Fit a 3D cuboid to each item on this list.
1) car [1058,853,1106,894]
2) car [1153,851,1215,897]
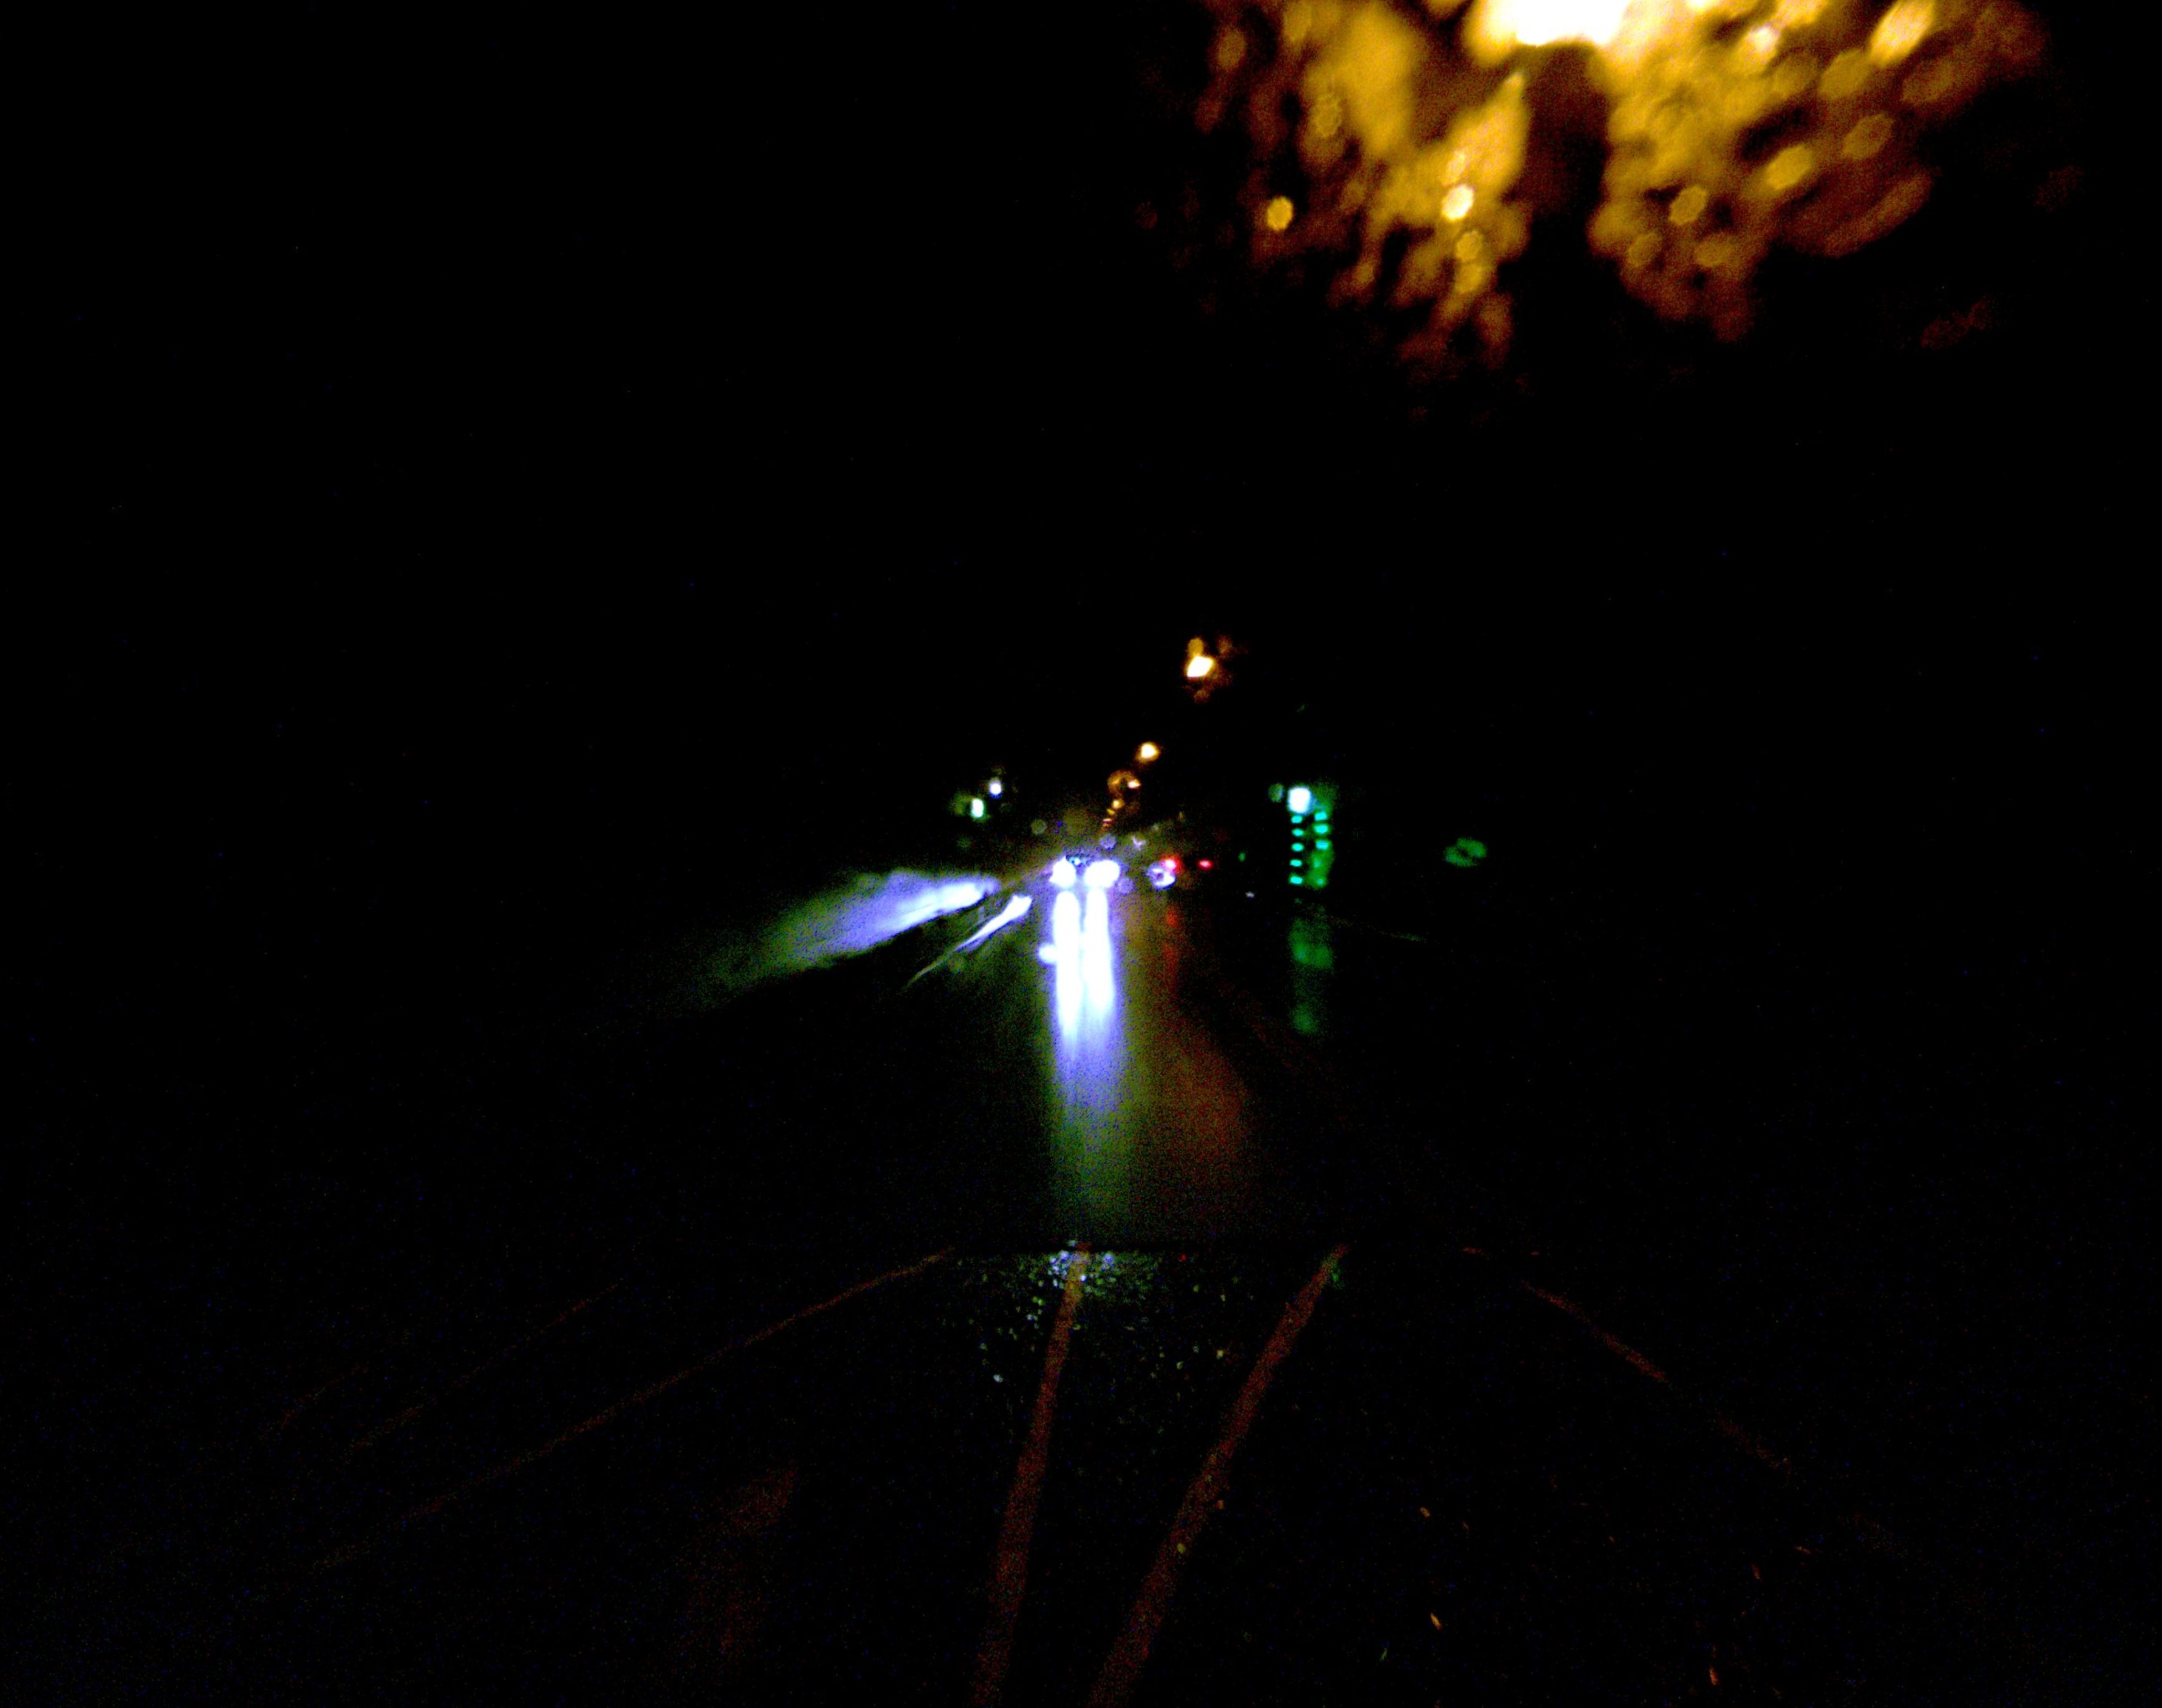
[{"bbox_3d":[0.074,0.845,35.598,1.998,1.547,3.999,-4,2,1],"label":"car"},{"bbox_3d":[3.677,0.683,27.734,1.695,1.496,3.744,-2,0,0],"label":"car"}]
